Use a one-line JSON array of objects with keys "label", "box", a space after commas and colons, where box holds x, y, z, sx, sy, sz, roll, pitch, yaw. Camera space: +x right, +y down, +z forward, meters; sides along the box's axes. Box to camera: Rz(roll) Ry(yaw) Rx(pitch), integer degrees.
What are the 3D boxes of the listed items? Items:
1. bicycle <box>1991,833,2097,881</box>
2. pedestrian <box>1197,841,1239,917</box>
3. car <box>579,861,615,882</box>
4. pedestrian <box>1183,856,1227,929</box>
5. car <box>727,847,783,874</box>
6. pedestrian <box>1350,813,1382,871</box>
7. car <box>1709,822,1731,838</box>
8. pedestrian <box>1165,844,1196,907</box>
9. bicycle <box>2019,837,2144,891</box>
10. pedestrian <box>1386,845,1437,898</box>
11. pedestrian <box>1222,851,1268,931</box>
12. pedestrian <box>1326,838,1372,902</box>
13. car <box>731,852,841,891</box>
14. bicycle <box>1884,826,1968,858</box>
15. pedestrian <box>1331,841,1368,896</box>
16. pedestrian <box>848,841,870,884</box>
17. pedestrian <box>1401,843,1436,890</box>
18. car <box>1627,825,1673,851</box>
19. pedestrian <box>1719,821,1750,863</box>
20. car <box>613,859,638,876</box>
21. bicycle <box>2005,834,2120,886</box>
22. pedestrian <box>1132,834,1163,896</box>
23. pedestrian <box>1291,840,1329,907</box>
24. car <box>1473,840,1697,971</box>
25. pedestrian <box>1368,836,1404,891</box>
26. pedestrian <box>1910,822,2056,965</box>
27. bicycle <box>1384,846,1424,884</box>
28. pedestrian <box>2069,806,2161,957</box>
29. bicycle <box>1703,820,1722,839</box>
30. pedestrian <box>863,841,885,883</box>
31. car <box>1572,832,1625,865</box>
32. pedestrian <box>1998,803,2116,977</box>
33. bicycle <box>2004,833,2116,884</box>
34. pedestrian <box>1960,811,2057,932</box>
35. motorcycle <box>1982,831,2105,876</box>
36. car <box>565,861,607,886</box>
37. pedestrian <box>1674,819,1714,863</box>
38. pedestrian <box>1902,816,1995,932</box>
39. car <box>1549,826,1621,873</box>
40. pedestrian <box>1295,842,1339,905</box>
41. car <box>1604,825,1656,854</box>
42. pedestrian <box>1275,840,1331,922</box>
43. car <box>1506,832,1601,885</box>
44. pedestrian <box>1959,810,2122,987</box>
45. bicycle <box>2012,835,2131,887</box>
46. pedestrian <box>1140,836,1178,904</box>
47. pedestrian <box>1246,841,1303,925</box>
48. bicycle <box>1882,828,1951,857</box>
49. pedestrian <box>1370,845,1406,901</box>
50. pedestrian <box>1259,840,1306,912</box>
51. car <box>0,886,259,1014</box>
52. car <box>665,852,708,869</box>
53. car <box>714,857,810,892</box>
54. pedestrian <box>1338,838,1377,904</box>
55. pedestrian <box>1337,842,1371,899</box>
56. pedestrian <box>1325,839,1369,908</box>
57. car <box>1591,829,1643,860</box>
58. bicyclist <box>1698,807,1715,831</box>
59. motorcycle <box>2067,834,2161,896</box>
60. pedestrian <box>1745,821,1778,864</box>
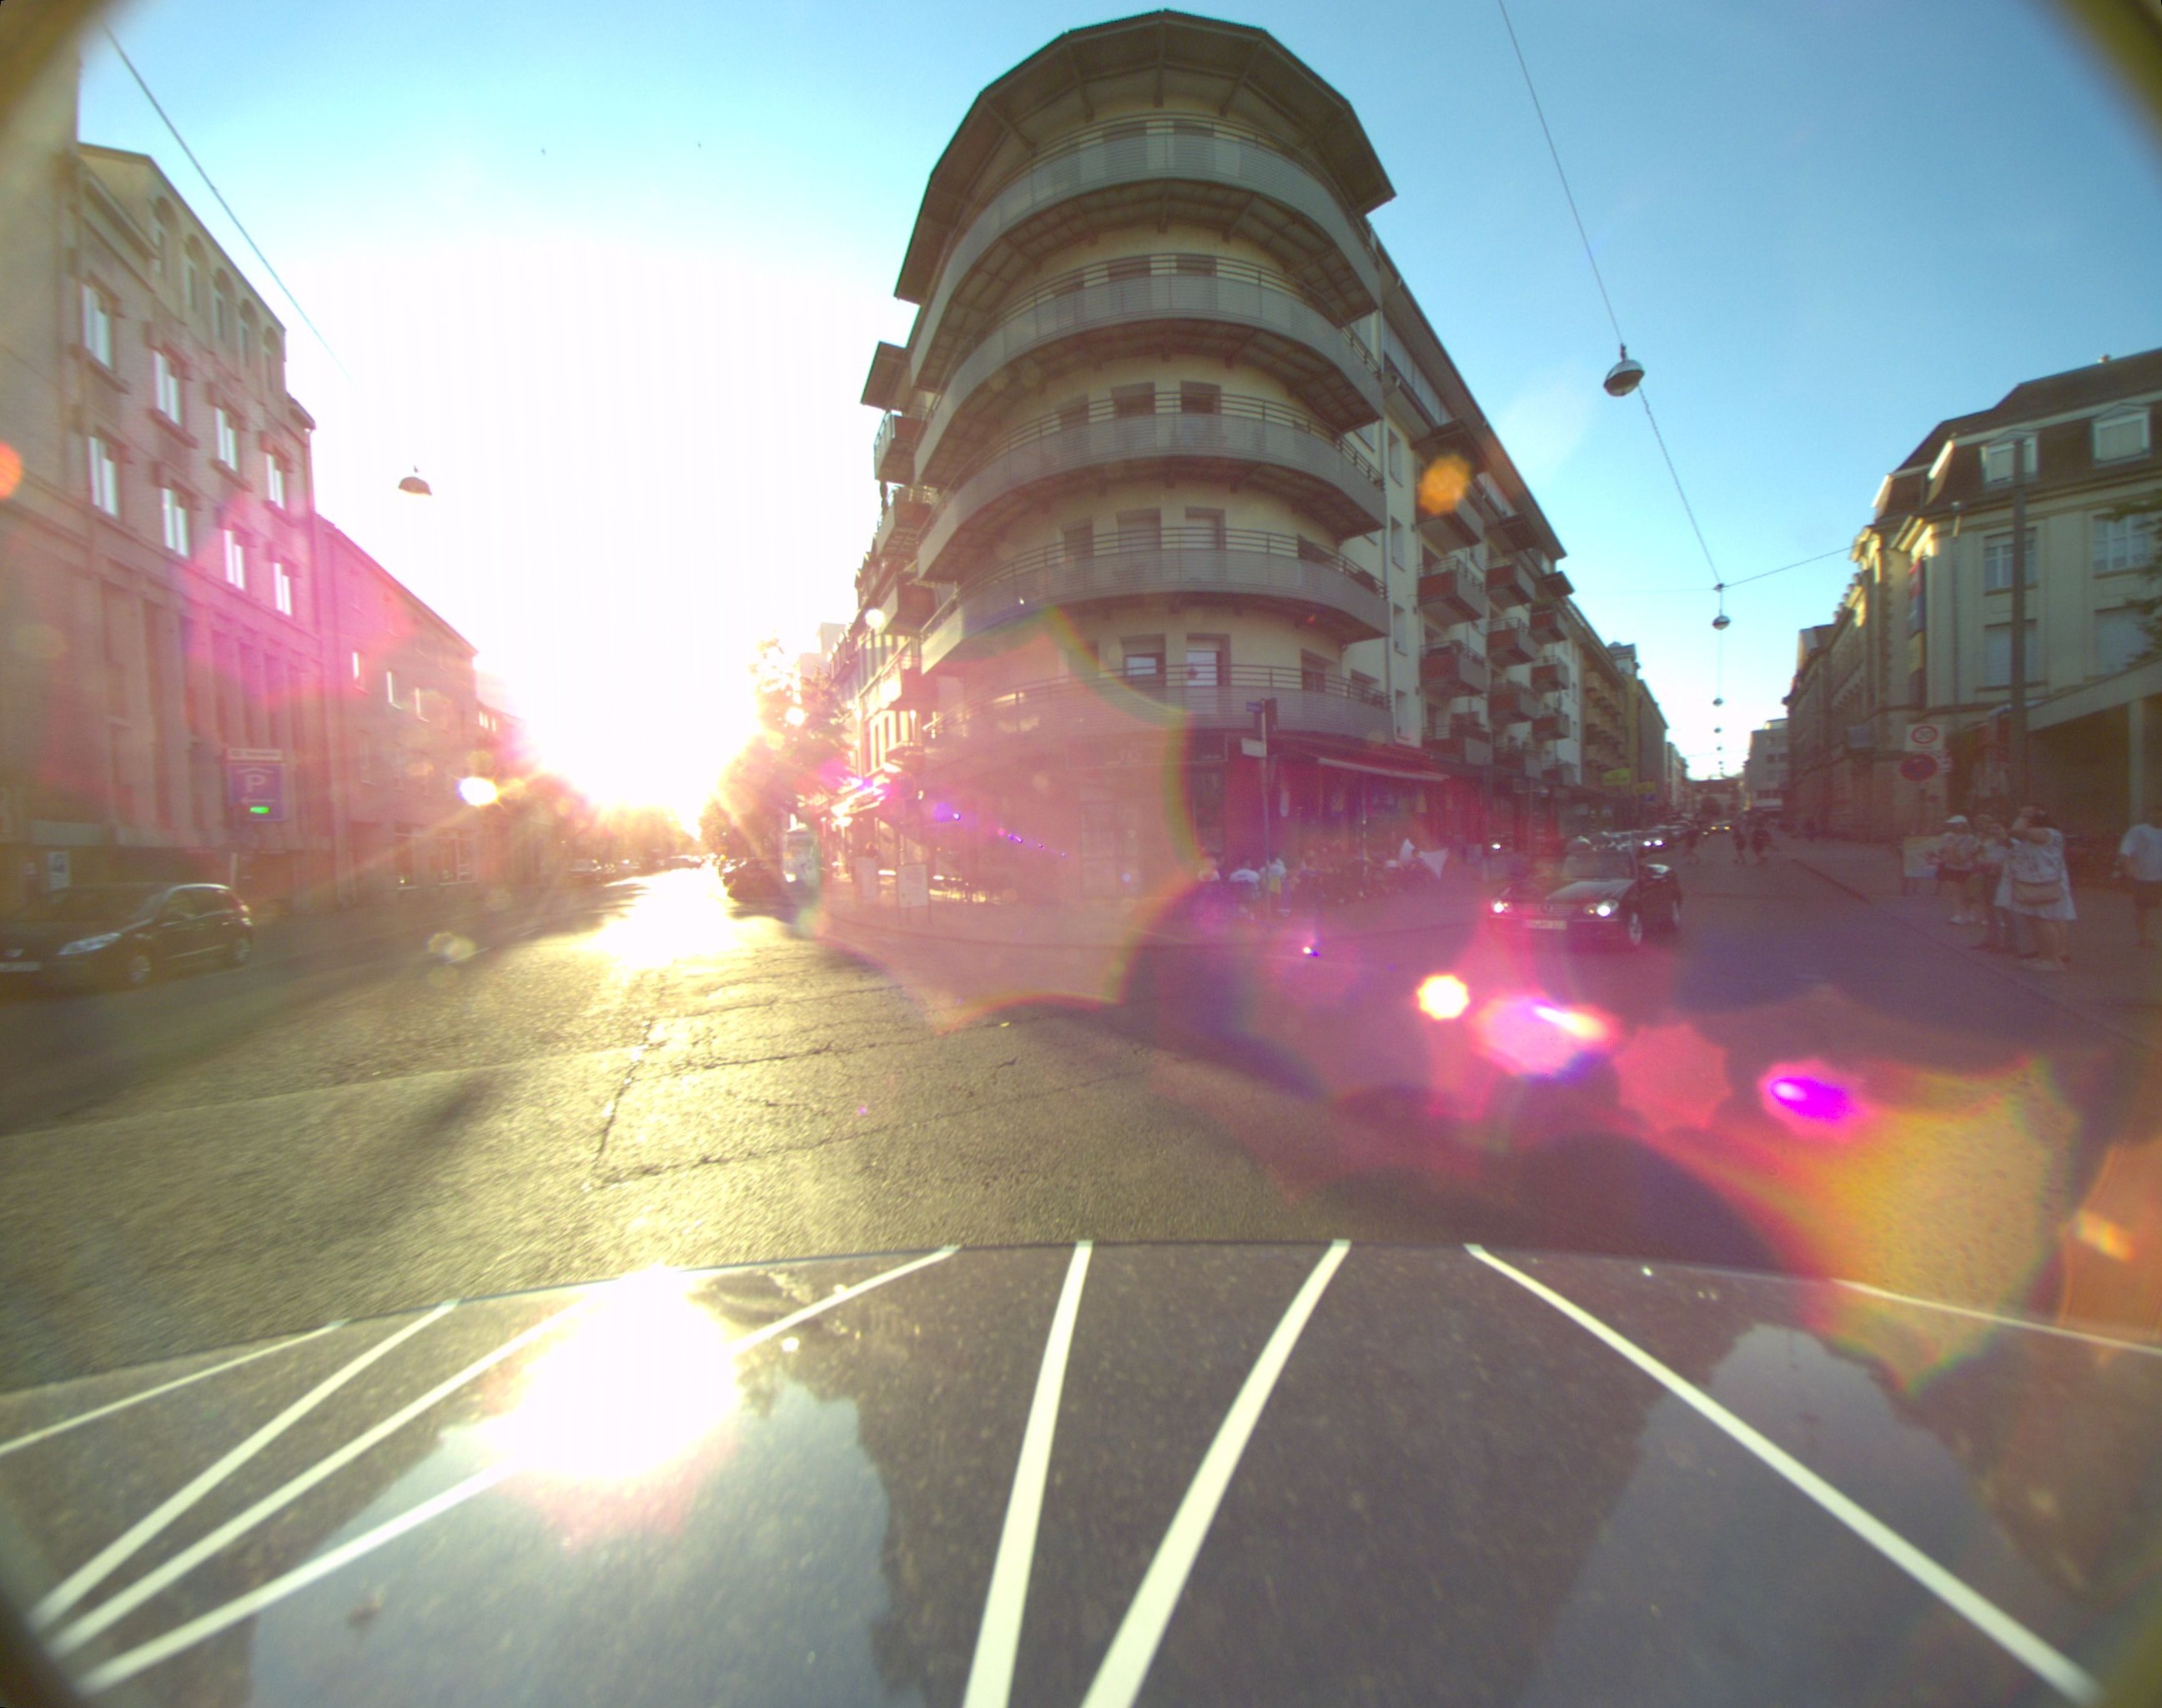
[{"label": "bicycle", "box": [22.754, 0.077, 17.995, 0.437, 1.081, 1.493, -3, 0, -43]}, {"label": "pedestrian", "box": [2.837, 0.506, 15.824, 0.714, 1.527, 0.853, -3, 0, 6]}, {"label": "car", "box": [-38.709, 1.359, 60.834, 2.002, 1.543, 3.991, -3, 1, -27]}, {"label": "pedestrian", "box": [2.351, 0.710, 14.341, 0.684, 1.275, 0.968, -2, 3, 15]}, {"label": "car", "box": [-27.363, 0.505, 63.743, 4.005, 2.002, 1.995, -3, 2, -29]}, {"label": "pedestrian", "box": [9.969, -0.424, 26.564, 0.816, 2.002, 0.668, -3, 2, -40]}, {"label": "car", "box": [86.228, -3.205, 102.483, 1.994, 2.002, 4.007, -1, 2, 44]}, {"label": "pedestrian", "box": [2.849, 0.609, 21.816, 0.610, 1.767, 0.619, -2, 1, 32]}, {"label": "bicycle", "box": [21.292, 0.219, 16.210, 1.493, 1.081, 0.549, -3, 0, 37]}, {"label": "pedestrian", "box": [8.577, 0.440, 19.723, 0.854, 1.299, 0.876, -3, 3, -30]}, {"label": "pedestrian", "box": [3.010, 0.659, 13.886, 0.769, 1.374, 0.840, -1, 3, 14]}, {"label": "pedestrian", "box": [6.703, 0.400, 19.018, 0.851, 1.527, 0.681, -3, 1, 37]}, {"label": "car", "box": [-13.424, 0.752, 34.600, 4.450, 1.533, 1.813, -3, 1, -27]}, {"label": "bicycle", "box": [33.120, -0.448, 29.827, 0.446, 1.149, 2.176, -3, 0, -44]}, {"label": "pedestrian", "box": [7.238, 0.391, 20.500, 0.712, 1.413, 0.603, -2, 1, 39]}, {"label": "pedestrian", "box": [-10.265, 0.402, 35.175, 0.731, 1.937, 0.739, -3, 2, -31]}, {"label": "pedestrian", "box": [9.653, 0.364, 21.750, 0.851, 1.271, 0.715, -1, 4, 18]}, {"label": "car", "box": [36.077, -1.005, 48.122, 1.894, 1.468, 4.309, -3, 0, 42]}, {"label": "pedestrian", "box": [27.723, -0.514, 32.230, 0.918, 1.717, 0.704, -2, 1, 35]}, {"label": "car", "box": [-45.681, 1.361, 76.266, 1.759, 1.543, 4.277, -3, 1, -27]}, {"label": "bicycle", "box": [21.798, 0.142, 16.911, 1.493, 1.105, 0.412, -3, 1, 37]}, {"label": "pedestrian", "box": [1.941, 0.312, 22.185, 0.610, 1.767, 0.619, -1, 1, 38]}, {"label": "pedestrian", "box": [5.466, 0.445, 18.138, 0.673, 1.527, 0.656, 2, 3, 38]}, {"label": "car", "box": [7.678, 0.588, 11.378, 4.625, 1.400, 1.805, -4, 3, -44]}, {"label": "pedestrian", "box": [8.820, 0.274, 22.019, 0.851, 1.527, 0.715, -3, 1, 18]}, {"label": "pedestrian", "box": [11.286, 0.472, 9.537, 0.714, 1.659, 0.882, -4, 1, -8]}, {"label": "bicycle", "box": [10.082, 0.343, 23.695, 0.549, 1.081, 2.009, -3, 0, 40]}, {"label": "pedestrian", "box": [13.100, 0.318, 9.340, 0.982, 1.783, 0.892, -3, 1, 42]}, {"label": "bicycle", "box": [55.743, -2.175, 67.050, 1.036, 1.513, 2.827, -1, 2, 44]}, {"label": "pedestrian", "box": [-9.716, 0.367, 35.636, 0.731, 1.937, 0.803, -3, 2, -31]}, {"label": "car", "box": [24.250, -0.276, 35.536, 1.749, 1.395, 3.974, -3, 0, 38]}, {"label": "pedestrian", "box": [11.173, 0.384, 8.702, 0.853, 1.866, 0.713, -3, 1, -32]}, {"label": "bicycle", "box": [22.276, 0.115, 17.326, 1.493, 1.081, 0.412, -3, 1, 37]}, {"label": "pedestrian", "box": [14.332, 0.263, 11.769, 0.810, 1.783, 0.738, -2, 1, 42]}, {"label": "motorcycle", "box": [24.363, 0.000, 19.278, 0.533, 1.062, 1.826, -3, 0, -21]}, {"label": "car", "box": [-35.183, 1.360, 54.067, 2.002, 1.543, 3.991, -3, 1, -27]}, {"label": "pedestrian", "box": [26.546, -0.565, 32.921, 1.006, 1.816, 0.947, -3, 0, 14]}, {"label": "pedestrian", "box": [13.915, 0.308, 12.217, 0.849, 1.783, 0.871, -2, 1, 42]}, {"label": "car", "box": [20.308, -0.210, 30.542, 1.880, 1.689, 4.145, -3, 0, 41]}, {"label": "pedestrian", "box": [5.830, 0.465, 18.746, 0.767, 1.495, 0.785, -1, 2, 38]}, {"label": "car", "box": [30.907, -0.828, 42.741, 1.863, 1.468, 4.402, -3, 0, 42]}, {"label": "pedestrian", "box": [4.417, 0.517, 15.121, 0.712, 1.528, 0.854, 5, 5, 41]}, {"label": "car", "box": [16.217, 0.117, 25.973, 1.875, 1.543, 4.639, -3, 0, 42]}, {"label": "pedestrian", "box": [10.342, 0.464, 8.233, 0.713, 1.792, 0.884, -3, 1, 22]}, {"label": "bicycle", "box": [21.567, 0.159, 16.584, 1.493, 1.063, 0.443, -3, 1, 37]}, {"label": "pedestrian", "box": [2.360, 0.473, 22.914, 0.812, 2.002, 0.671, -1, 2, 40]}, {"label": "pedestrian", "box": [3.755, 0.538, 14.751, 0.690, 1.528, 0.712, -7, 4, -33]}, {"label": "bicycle", "box": [33.547, -0.441, 30.545, 0.355, 1.076, 1.841, -3, 0, -44]}, {"label": "pedestrian", "box": [7.731, 0.460, 19.130, 0.653, 1.337, 0.751, 2, 3, 37]}, {"label": "pedestrian", "box": [4.496, 0.481, 16.981, 0.649, 1.527, 0.751, -3, 1, -17]}, {"label": "car", "box": [-15.030, 1.350, 11.584, 2.002, 1.511, 3.992, -2, 0, -25]}, {"label": "car", "box": [-53.108, 0.878, 102.361, 4.842, 2.002, 2.001, -2, 1, 10]}, {"label": "car", "box": [-15.279, 0.930, 36.421, 4.006, 1.412, 1.995, -3, 1, -30]}, {"label": "pedestrian", "box": [6.576, 0.389, 18.090, 0.648, 1.519, 0.701, 3, 4, 36]}, {"label": "pedestrian", "box": [7.036, 0.400, 19.595, 0.665, 1.426, 0.562, 1, 3, 37]}, {"label": "pedestrian", "box": [6.119, 0.427, 17.458, 0.712, 1.528, 0.761, 4, 4, 36]}, {"label": "car", "box": [27.899, -0.520, 39.499, 1.764, 1.468, 3.955, -3, 0, 41]}, {"label": "bicyclist", "box": [54.686, -3.074, 66.408, 1.043, 2.002, 1.184, -1, 2, 42]}, {"label": "motorcycle", "box": [20.437, 0.199, 14.663, 1.826, 1.120, 0.537, -3, 0, 9]}, {"label": "pedestrian", "box": [27.998, -0.490, 31.272, 0.922, 1.717, 0.831, -3, 1, -36]}]
